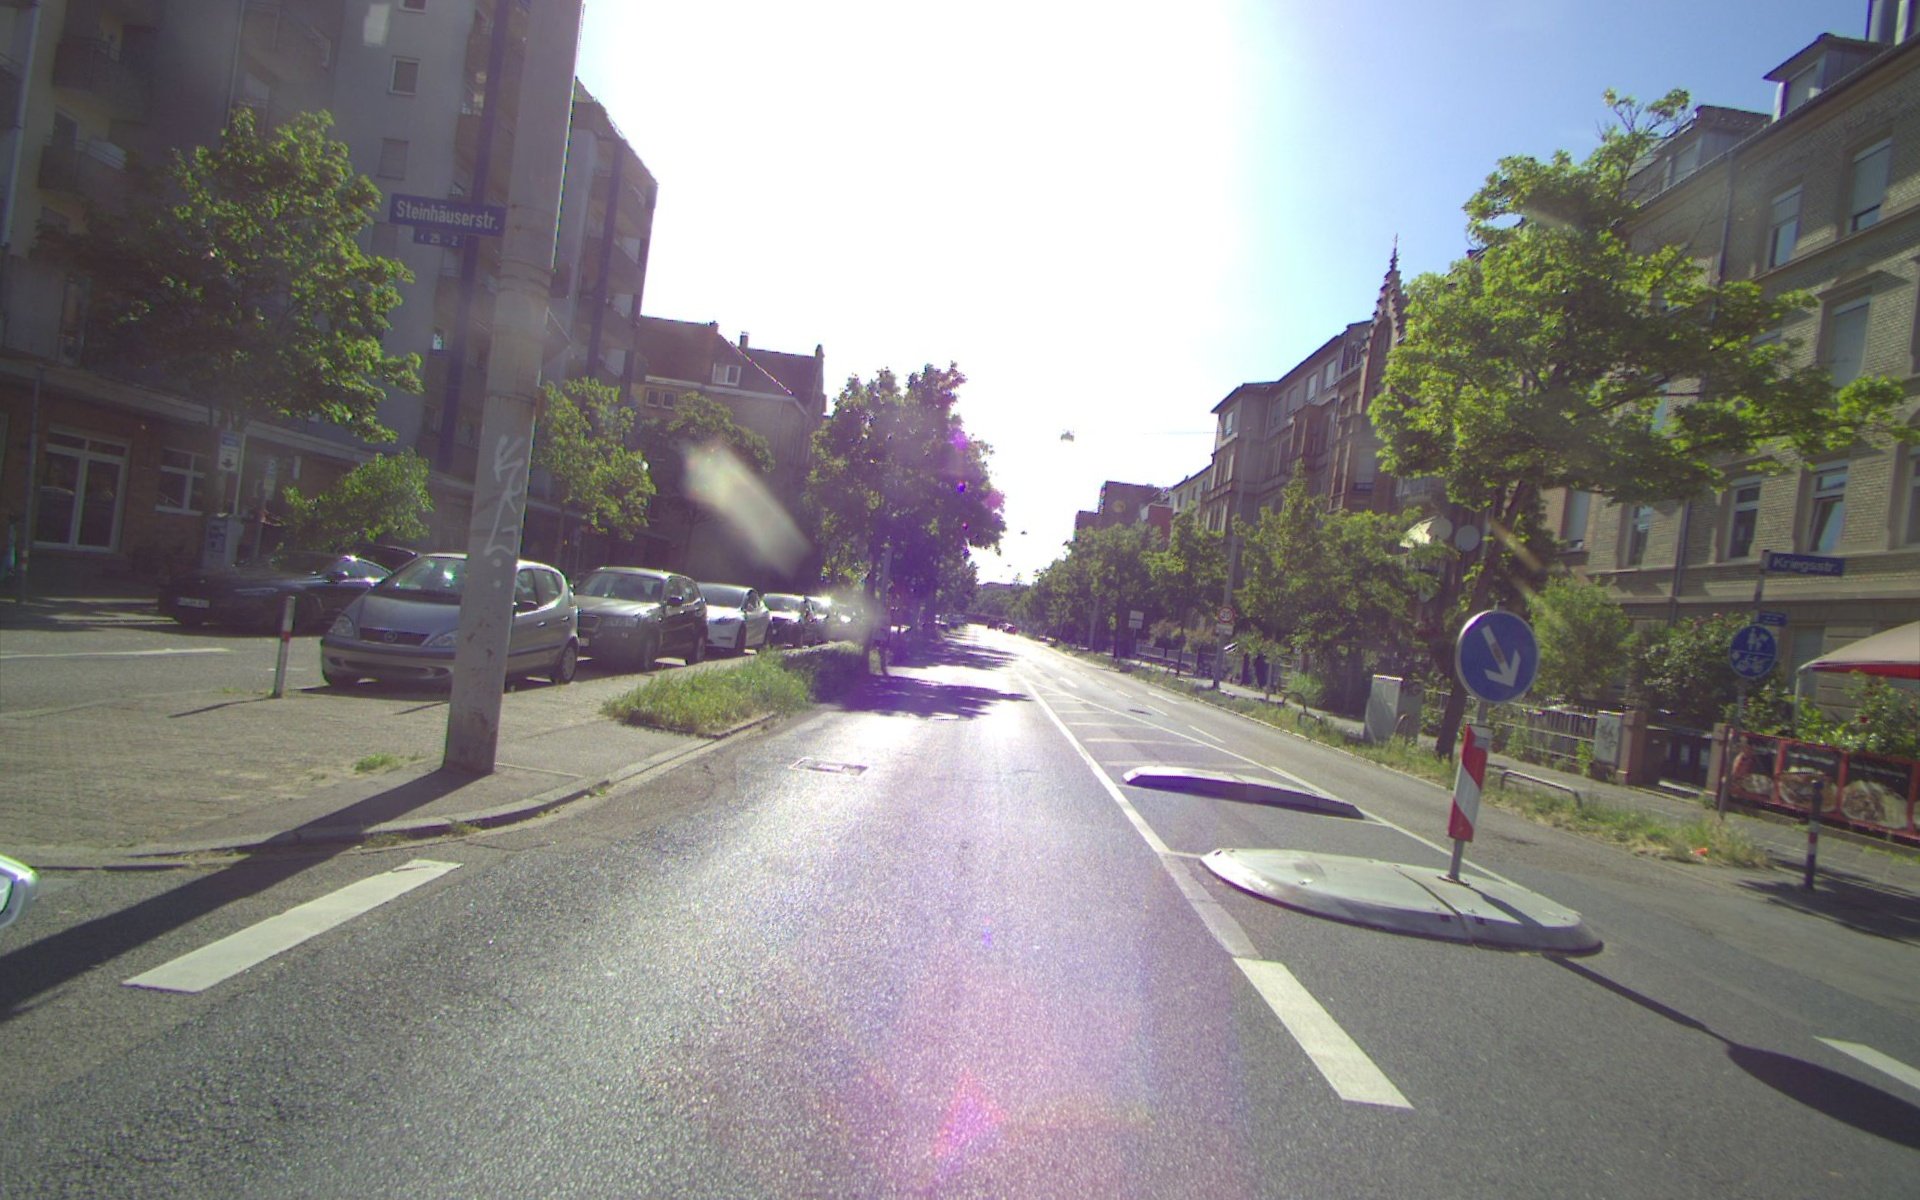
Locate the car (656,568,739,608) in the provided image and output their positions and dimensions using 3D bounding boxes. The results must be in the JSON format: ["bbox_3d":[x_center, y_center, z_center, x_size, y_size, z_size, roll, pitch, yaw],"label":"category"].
[{"bbox_3d":[-14.226,-0.641,54.715,3.928,1.649,1.687,8,0,-3],"label":"car"}]

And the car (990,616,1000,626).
[{"bbox_3d":[7.130,4.377,205.580,1.731,1.805,4.001,7,0,2],"label":"car"}]

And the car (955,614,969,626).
[{"bbox_3d":[0.336,3.374,168.011,1.962,1.716,4.001,7,-1,3],"label":"car"}]

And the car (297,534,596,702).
[{"bbox_3d":[-5.892,0.206,12.054,1.693,1.537,3.531,7,-1,-1],"label":"car"}]

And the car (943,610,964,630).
[{"bbox_3d":[-0.706,2.352,118.230,2.029,2.038,4.630,7,-1,3],"label":"car"}]

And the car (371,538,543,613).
[{"bbox_3d":[-14.593,-0.680,29.379,3.928,1.627,1.841,8,0,-3],"label":"car"}]

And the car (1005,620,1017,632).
[{"bbox_3d":[8.941,4.515,175.823,1.921,1.729,4.001,7,-1,2],"label":"car"}]

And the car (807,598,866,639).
[{"bbox_3d":[-5.031,0.769,41.543,1.728,1.415,4.000,7,-1,1],"label":"car"}]

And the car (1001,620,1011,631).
[{"bbox_3d":[8.574,4.716,187.682,1.731,1.805,4.001,7,0,2],"label":"car"}]

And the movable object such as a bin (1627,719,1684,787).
[{"bbox_3d":[13.167,2.882,19.052,0.559,1.147,0.552,7,0,2],"label":"movable object such as a bin"}]

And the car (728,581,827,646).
[{"bbox_3d":[-5.321,0.408,29.856,1.834,1.607,4.001,6,-1,3],"label":"car"}]

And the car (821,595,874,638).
[{"bbox_3d":[-5.128,0.747,46.254,1.735,1.666,4.001,7,-1,1],"label":"car"}]

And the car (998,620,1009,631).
[{"bbox_3d":[7.907,4.564,182.581,1.731,1.805,4.001,7,0,2],"label":"car"}]

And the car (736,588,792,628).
[{"bbox_3d":[-9.646,0.407,49.806,1.735,1.666,4.001,7,-1,1],"label":"car"}]

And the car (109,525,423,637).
[{"bbox_3d":[-11.344,-0.233,16.947,1.861,1.415,4.531,7,-1,3],"label":"car"}]

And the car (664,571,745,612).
[{"bbox_3d":[-14.387,-0.464,56.708,3.927,1.791,1.885,8,0,-2],"label":"car"}]

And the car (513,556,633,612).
[{"bbox_3d":[-15.248,-0.593,39.780,3.928,1.649,1.687,8,0,-3],"label":"car"}]

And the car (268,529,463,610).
[{"bbox_3d":[-15.641,-0.769,26.629,3.928,1.570,1.769,8,0,-3],"label":"car"}]

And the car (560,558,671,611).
[{"bbox_3d":[-14.462,-0.619,42.345,3.928,1.649,1.687,8,0,-3],"label":"car"}]

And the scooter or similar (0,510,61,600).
[{"bbox_3d":[-15.085,-0.773,15.367,1.938,1.293,0.630,7,1,-4],"label":"scooter or similar"}]

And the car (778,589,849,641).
[{"bbox_3d":[-5.187,0.550,36.072,1.724,1.572,4.000,7,-1,1],"label":"car"}]

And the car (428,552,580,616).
[{"bbox_3d":[-14.418,-0.487,31.953,3.928,1.442,1.687,8,0,-3],"label":"car"}]

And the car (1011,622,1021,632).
[{"bbox_3d":[12.000,5.808,214.875,1.731,1.805,4.001,7,0,2],"label":"car"}]

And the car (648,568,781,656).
[{"bbox_3d":[-5.629,0.289,23.683,1.859,1.682,4.531,5,-1,1],"label":"car"}]

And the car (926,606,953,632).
[{"bbox_3d":[-1.835,1.742,91.484,1.962,2.038,4.207,7,-1,3],"label":"car"}]

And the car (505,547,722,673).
[{"bbox_3d":[-5.642,0.190,17.056,1.839,1.647,4.505,7,-1,2],"label":"car"}]
